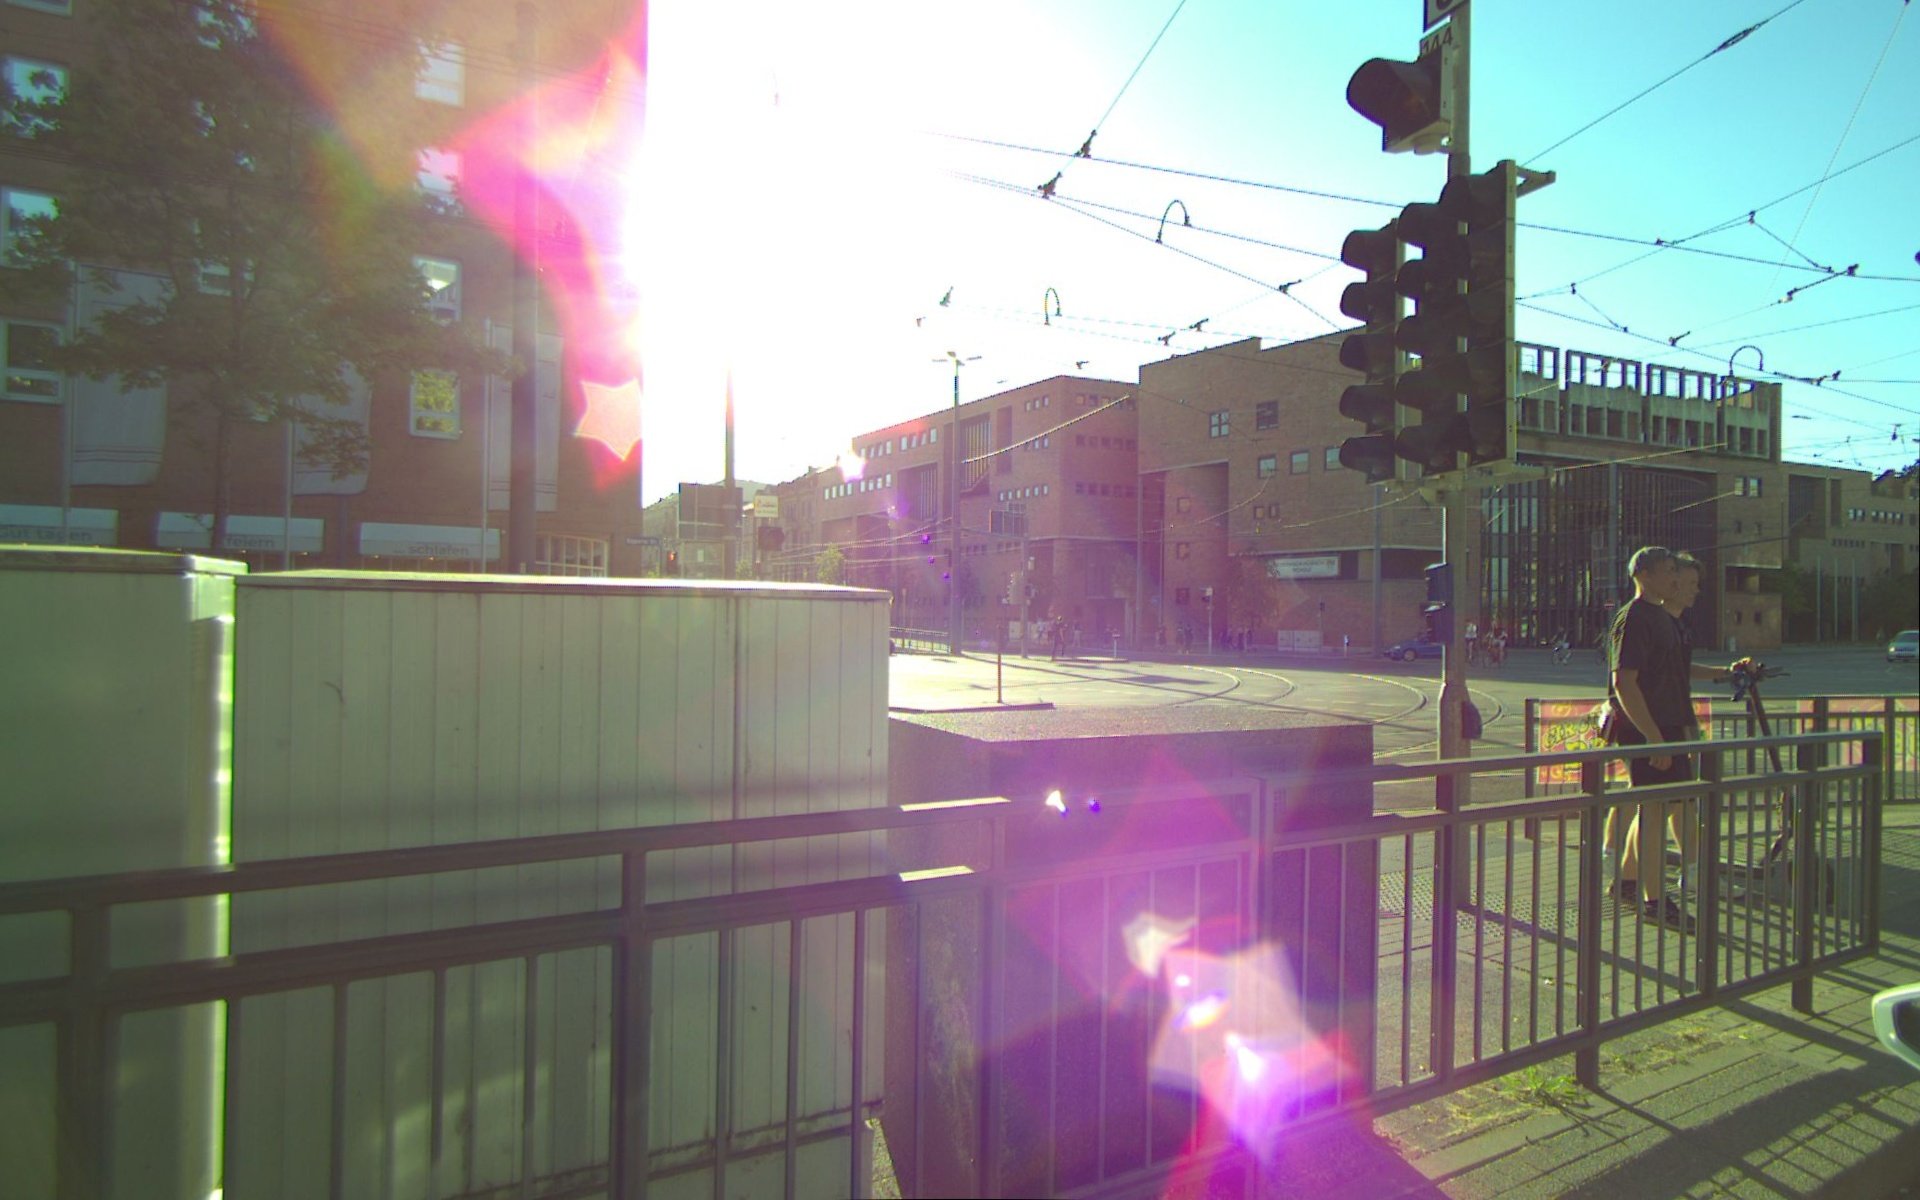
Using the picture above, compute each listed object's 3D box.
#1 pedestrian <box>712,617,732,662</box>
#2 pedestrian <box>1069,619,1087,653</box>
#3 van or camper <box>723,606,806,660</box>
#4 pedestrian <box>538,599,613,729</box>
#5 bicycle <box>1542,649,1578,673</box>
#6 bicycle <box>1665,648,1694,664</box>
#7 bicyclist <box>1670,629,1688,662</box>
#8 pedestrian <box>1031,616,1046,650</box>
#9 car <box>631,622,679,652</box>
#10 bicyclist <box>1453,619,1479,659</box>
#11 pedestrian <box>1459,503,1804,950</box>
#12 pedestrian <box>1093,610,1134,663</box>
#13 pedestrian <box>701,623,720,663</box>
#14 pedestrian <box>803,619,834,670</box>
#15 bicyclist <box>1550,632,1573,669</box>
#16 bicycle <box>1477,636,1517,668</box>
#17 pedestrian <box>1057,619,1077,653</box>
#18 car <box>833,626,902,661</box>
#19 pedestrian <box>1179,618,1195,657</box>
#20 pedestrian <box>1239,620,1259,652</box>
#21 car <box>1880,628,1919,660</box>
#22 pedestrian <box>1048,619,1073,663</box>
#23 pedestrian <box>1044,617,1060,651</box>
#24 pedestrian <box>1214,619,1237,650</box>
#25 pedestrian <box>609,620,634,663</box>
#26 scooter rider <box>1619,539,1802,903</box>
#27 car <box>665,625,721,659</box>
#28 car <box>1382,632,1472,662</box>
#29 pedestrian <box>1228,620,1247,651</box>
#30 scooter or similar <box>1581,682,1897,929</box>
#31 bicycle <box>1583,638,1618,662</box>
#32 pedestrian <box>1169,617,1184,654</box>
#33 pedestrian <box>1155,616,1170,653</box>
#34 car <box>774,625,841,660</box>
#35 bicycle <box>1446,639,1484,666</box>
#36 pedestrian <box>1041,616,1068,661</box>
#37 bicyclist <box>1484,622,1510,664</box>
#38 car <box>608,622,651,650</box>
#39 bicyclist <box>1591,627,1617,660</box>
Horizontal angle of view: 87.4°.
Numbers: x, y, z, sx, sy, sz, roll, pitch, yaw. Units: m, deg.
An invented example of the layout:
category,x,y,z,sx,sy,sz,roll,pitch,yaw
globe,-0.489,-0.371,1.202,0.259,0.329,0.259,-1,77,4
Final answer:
category,x,y,z,sx,sy,sz,roll,pitch,yaw
pedestrian,-10.834,1.777,45.684,0.597,2.040,0.848,1,-1,-38
pedestrian,6.988,2.136,59.610,0.742,2.010,0.780,1,-1,-32
van or camper,-9.393,1.559,47.897,1.981,2.451,4.980,1,-2,-36
pedestrian,-5.689,0.917,14.831,0.944,1.822,0.987,2,0,-24
bicycle,26.391,2.674,44.164,1.884,1.011,0.688,1,-2,-37
bicycle,36.218,2.818,50.547,1.948,0.781,0.586,1,-2,-35
bicyclist,36.189,2.264,50.534,0.509,1.647,0.583,1,-1,-35
pedestrian,4.773,2.019,61.137,0.607,2.040,0.727,1,-1,-32
car,-18.248,2.171,59.942,1.738,1.750,3.965,1,-2,-32
bicyclist,20.087,1.545,39.873,0.752,1.595,0.655,1,-2,-38
pedestrian,3.290,0.560,5.016,0.843,1.908,1.164,1,-1,-25
pedestrian,6.093,1.443,39.811,1.193,2.040,1.028,2,0,-30
pedestrian,-11.879,2.038,47.772,0.597,1.843,0.848,1,-1,-38
pedestrian,-4.949,1.547,35.177,0.860,1.775,0.670,1,-2,-39
bicyclist,26.518,2.227,44.268,0.752,1.590,0.656,1,-2,-37
bicycle,21.018,2.014,39.312,2.094,1.157,0.679,-1,0,-42
pedestrian,6.297,2.112,59.126,0.917,2.010,0.780,1,-1,-32
car,-4.812,2.230,51.807,1.978,1.709,3.965,1,-2,-33
pedestrian,12.052,1.986,53.287,0.603,2.040,0.731,0,-1,30
pedestrian,19.224,2.389,66.790,0.841,2.079,1.001,1,-1,-32
car,48.940,2.263,51.723,3.962,1.598,1.610,1,-2,-36
pedestrian,4.215,1.704,42.103,0.797,1.801,0.623,2,0,-30
pedestrian,5.571,2.043,61.028,0.644,2.040,0.780,1,-1,-32
pedestrian,17.576,2.301,66.489,0.902,2.040,1.151,1,-1,-34
pedestrian,-14.116,1.740,41.921,0.857,1.775,0.672,1,-1,-30
scooter rider,4.177,0.644,5.599,0.670,1.877,0.564,3,-2,-25
car,-14.449,2.216,54.202,1.739,1.750,3.963,1,-2,-33
car,22.642,2.252,48.787,3.642,1.394,1.586,0,-1,1
pedestrian,18.657,2.367,67.537,0.841,2.079,1.001,1,-1,-32
scooter or similar,4.166,1.030,5.454,0.639,1.095,1.199,1,-1,-25
bicycle,29.617,2.326,46.427,1.993,1.064,0.647,2,-1,-35
pedestrian,11.966,1.955,55.559,0.603,2.040,0.731,0,-1,30
pedestrian,11.282,1.936,55.978,0.603,2.040,0.731,0,-1,30
car,-7.802,2.137,51.183,1.978,1.709,3.965,1,-2,-33
bicycle,20.020,2.074,39.819,1.886,1.011,0.647,2,-2,-40
pedestrian,4.133,1.661,43.813,0.866,1.927,0.718,2,0,-33
bicyclist,21.007,1.676,39.304,0.753,1.581,0.676,-1,0,-42
car,-21.543,2.300,65.368,1.738,1.750,3.965,1,-2,-32
bicyclist,29.872,2.004,46.592,1.022,1.494,0.649,2,-1,-35
